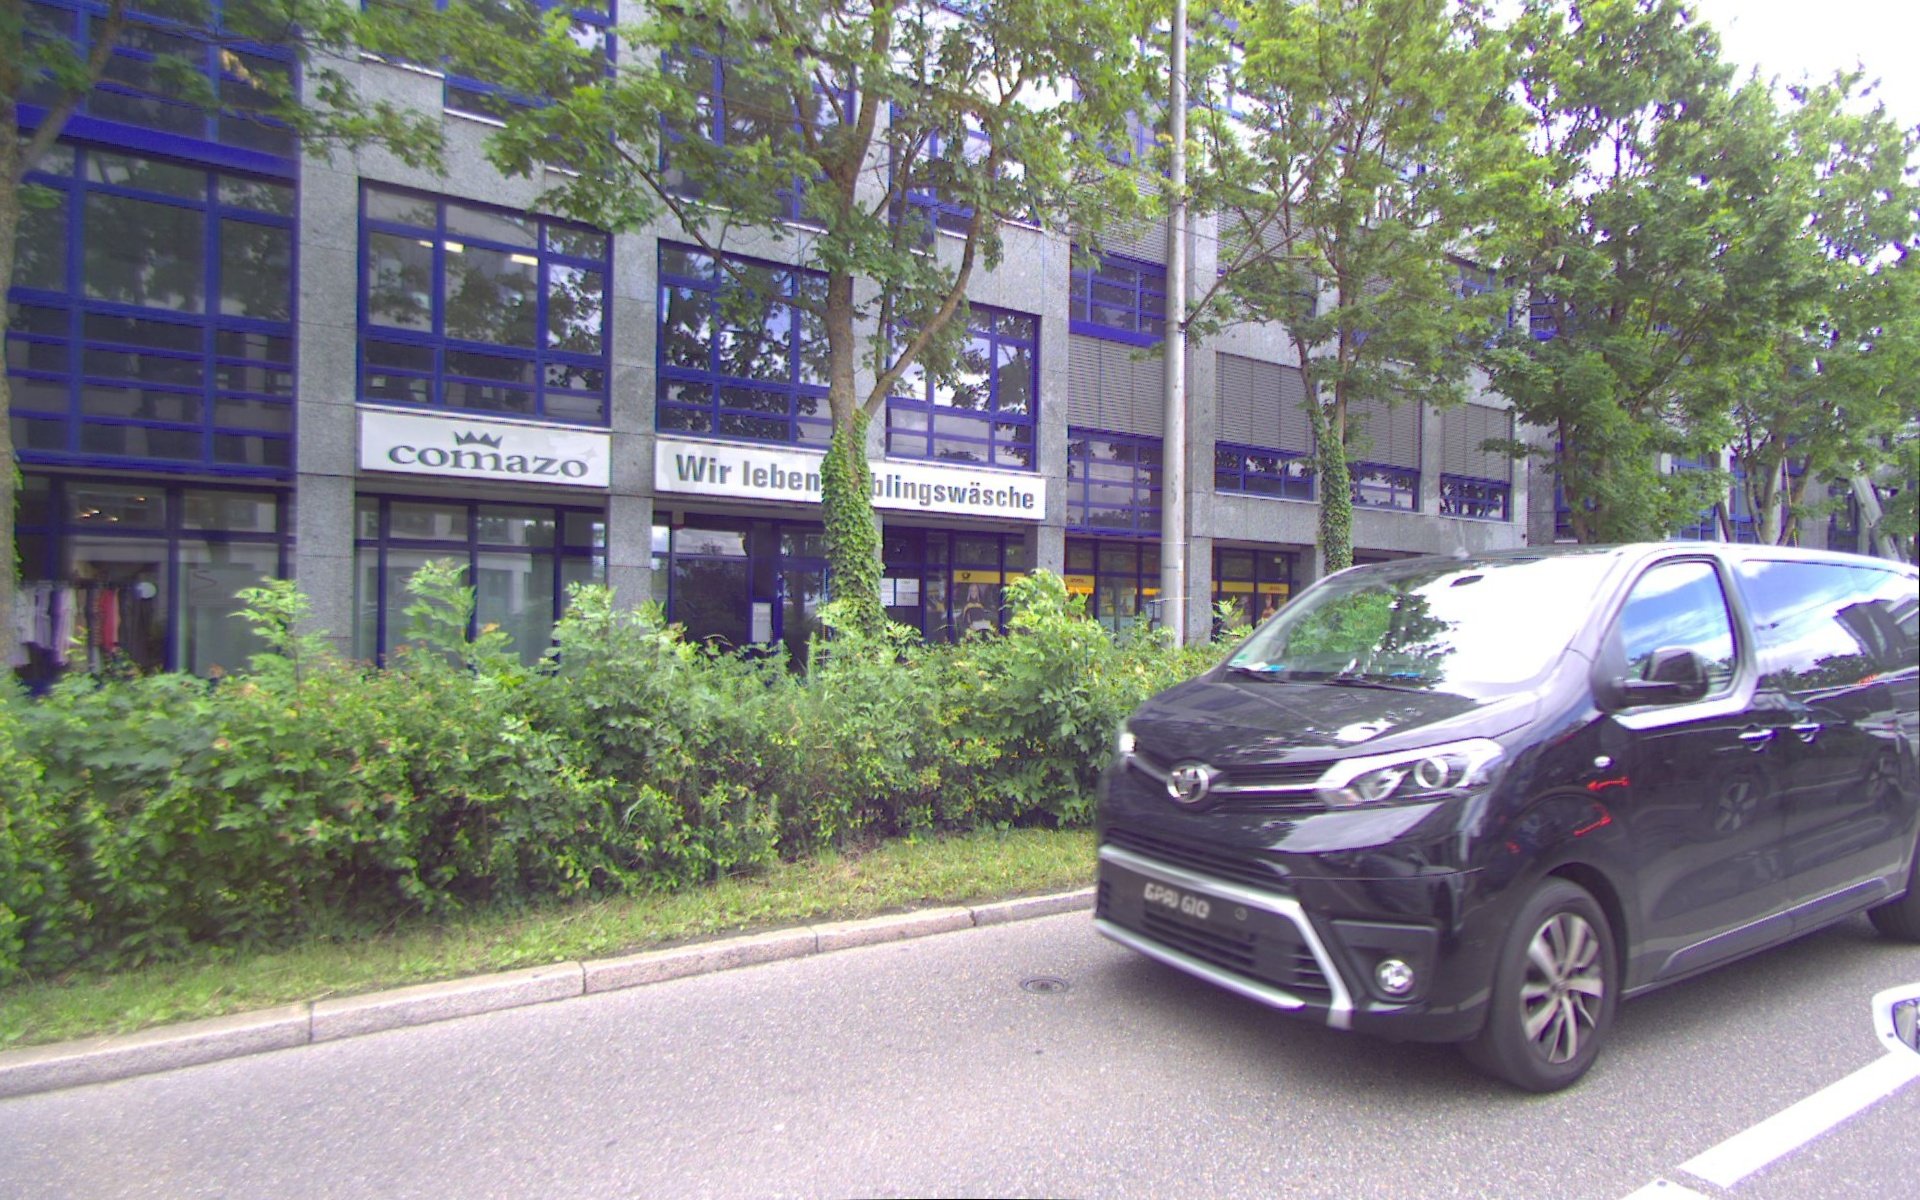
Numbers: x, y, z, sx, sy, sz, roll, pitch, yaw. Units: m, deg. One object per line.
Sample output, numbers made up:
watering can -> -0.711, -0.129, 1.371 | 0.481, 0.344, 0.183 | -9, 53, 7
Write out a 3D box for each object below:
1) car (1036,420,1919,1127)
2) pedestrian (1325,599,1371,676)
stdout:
car -> 2.855, 0.578, 4.875 | 4.681, 1.973, 1.984 | 2, -2, -31
pedestrian -> 9.848, 0.945, 25.498 | 0.723, 1.919, 0.771 | 2, 0, -30
